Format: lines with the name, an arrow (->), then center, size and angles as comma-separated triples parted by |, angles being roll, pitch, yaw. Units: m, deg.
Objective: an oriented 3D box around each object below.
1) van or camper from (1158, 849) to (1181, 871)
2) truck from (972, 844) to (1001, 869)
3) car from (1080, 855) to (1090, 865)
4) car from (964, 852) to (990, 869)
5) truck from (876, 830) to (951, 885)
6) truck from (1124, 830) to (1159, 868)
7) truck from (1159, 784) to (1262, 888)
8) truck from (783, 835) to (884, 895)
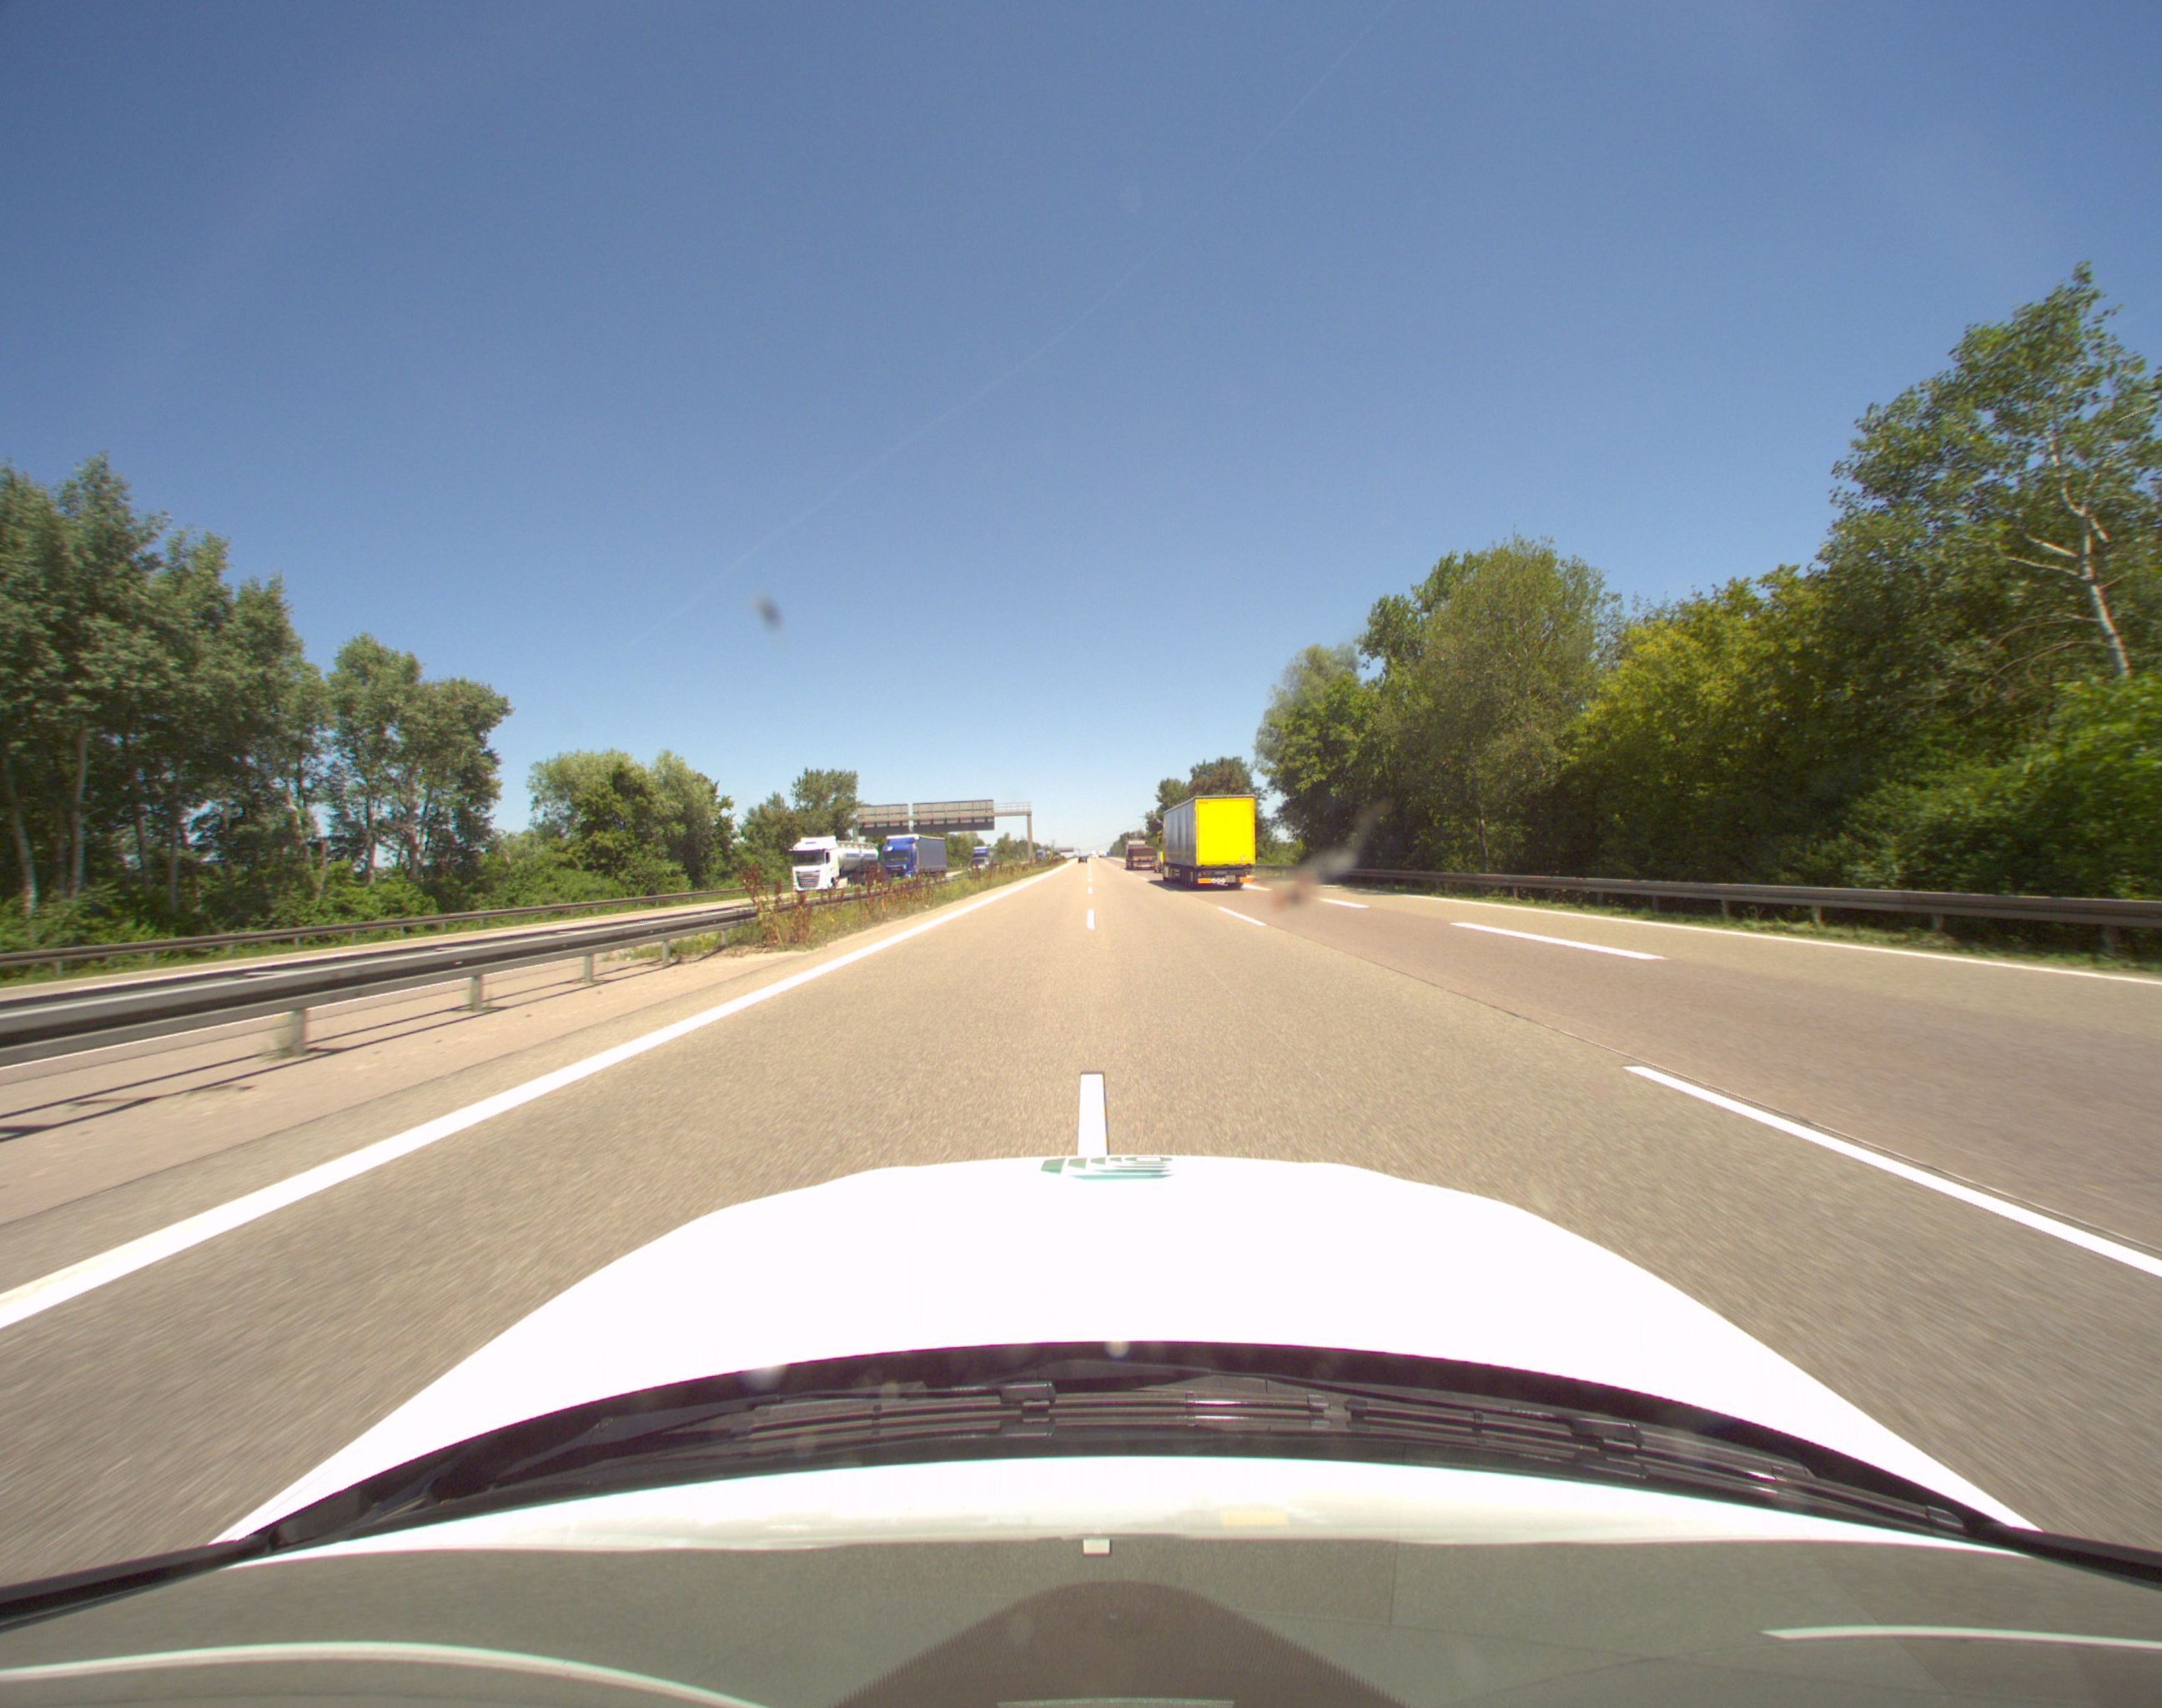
van or camper -> 8.043, 0.493, 74.337 | 1.984, 1.909, 4.978 | -1, 0, 5
truck -> -17.532, 0.441, 152.162 | 2.945, 4.342, 18.239 | -3, 0, 0
car -> 0.822, 1.208, 165.956 | 1.785, 2.014, 3.888 | -1, -1, 1
car -> -10.777, 0.664, 84.594 | 1.986, 1.589, 4.819 | -3, 0, 1
truck -> -14.722, 0.327, 73.438 | 2.945, 4.245, 17.179 | -3, 0, 0
truck -> 6.679, -0.439, 92.604 | 2.959, 3.957, 16.615 | -1, -1, 1
truck -> 6.246, -0.665, 42.641 | 2.835, 4.257, 16.793 | -2, -1, 1
truck -> -19.057, 0.817, 64.304 | 2.945, 4.018, 15.819 | -3, 0, 0
